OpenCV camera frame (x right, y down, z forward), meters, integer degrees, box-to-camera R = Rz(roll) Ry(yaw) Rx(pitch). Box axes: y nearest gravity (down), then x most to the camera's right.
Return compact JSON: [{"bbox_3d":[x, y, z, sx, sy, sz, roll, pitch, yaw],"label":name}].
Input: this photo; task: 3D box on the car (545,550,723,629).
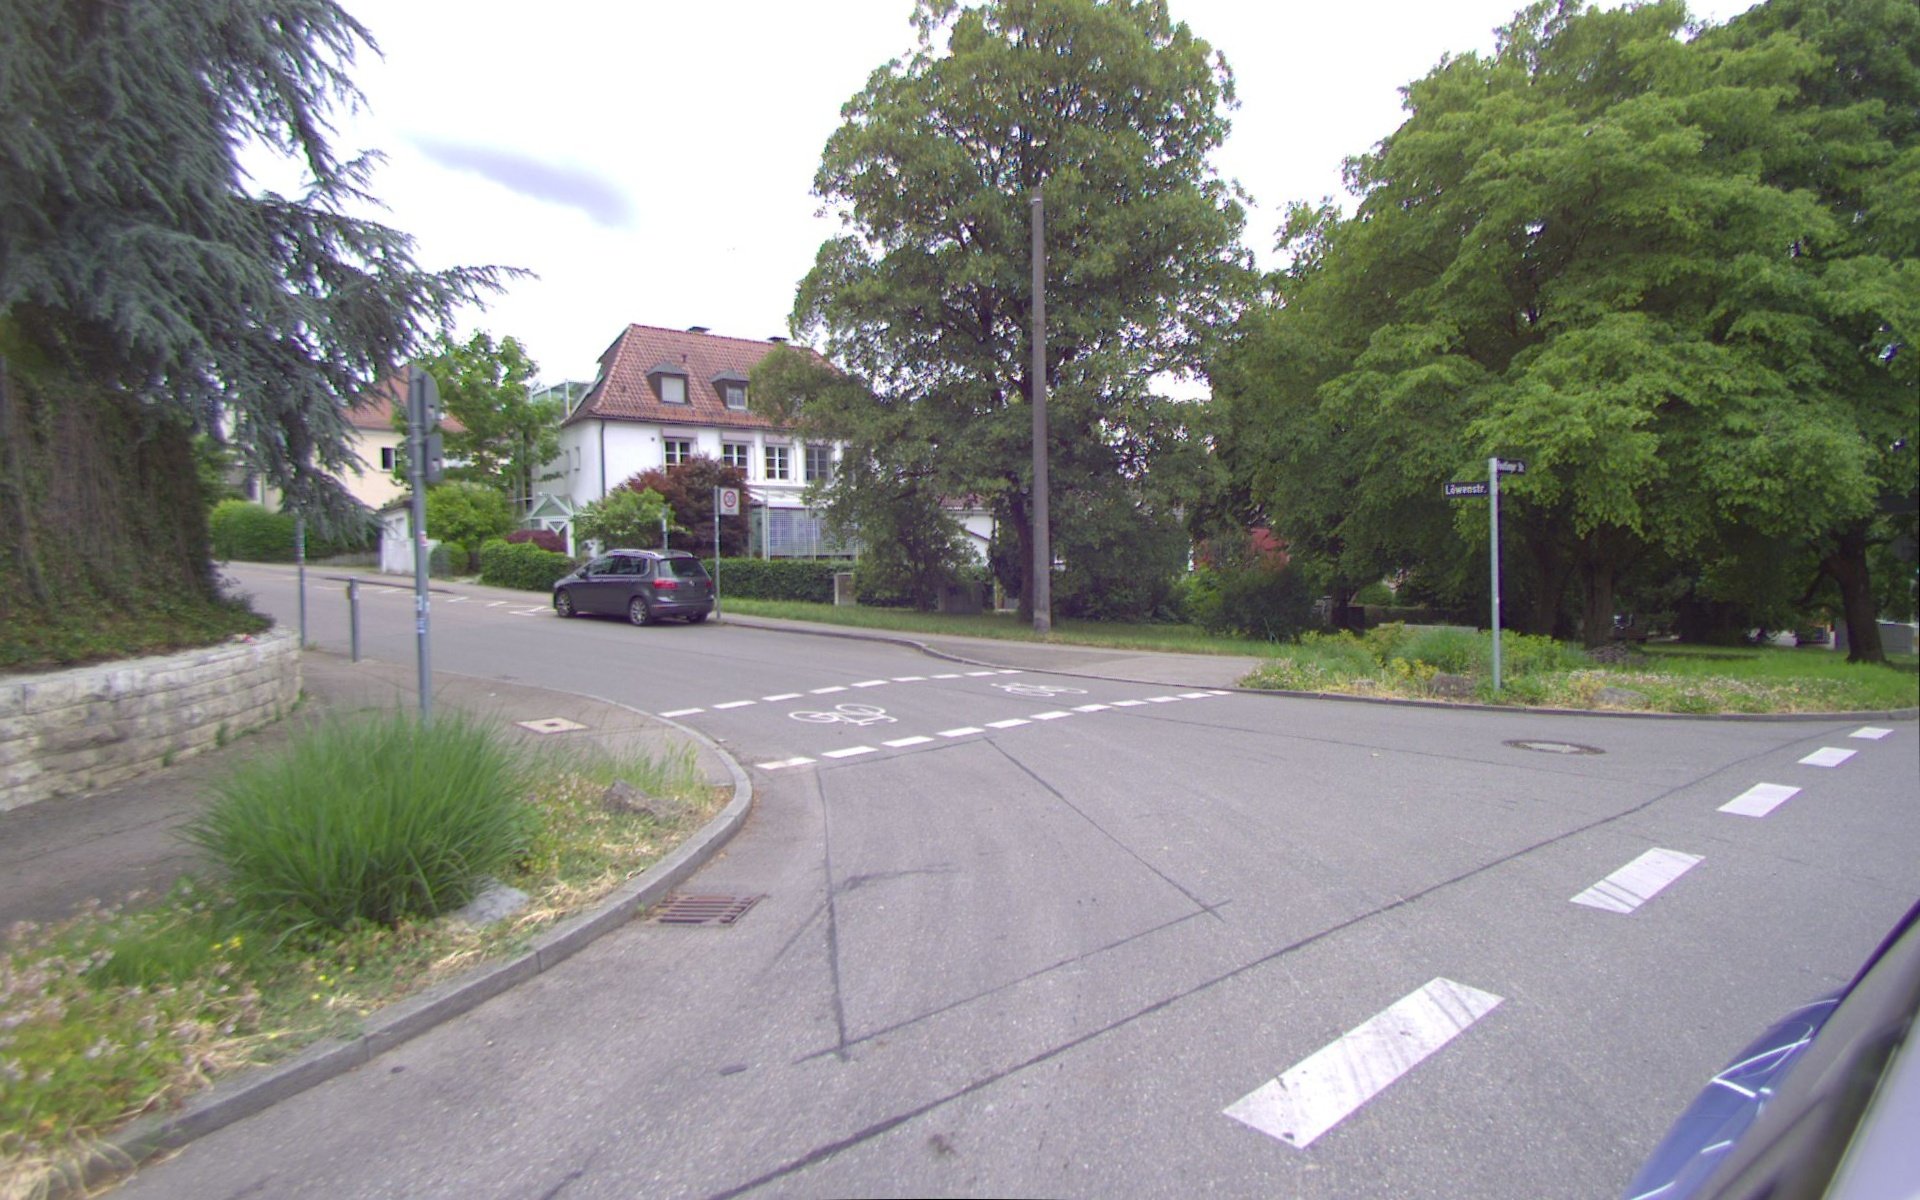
[{"bbox_3d":[-7.280,-0.310,22.481,3.976,1.555,1.800,3,3,36],"label":"car"}]
